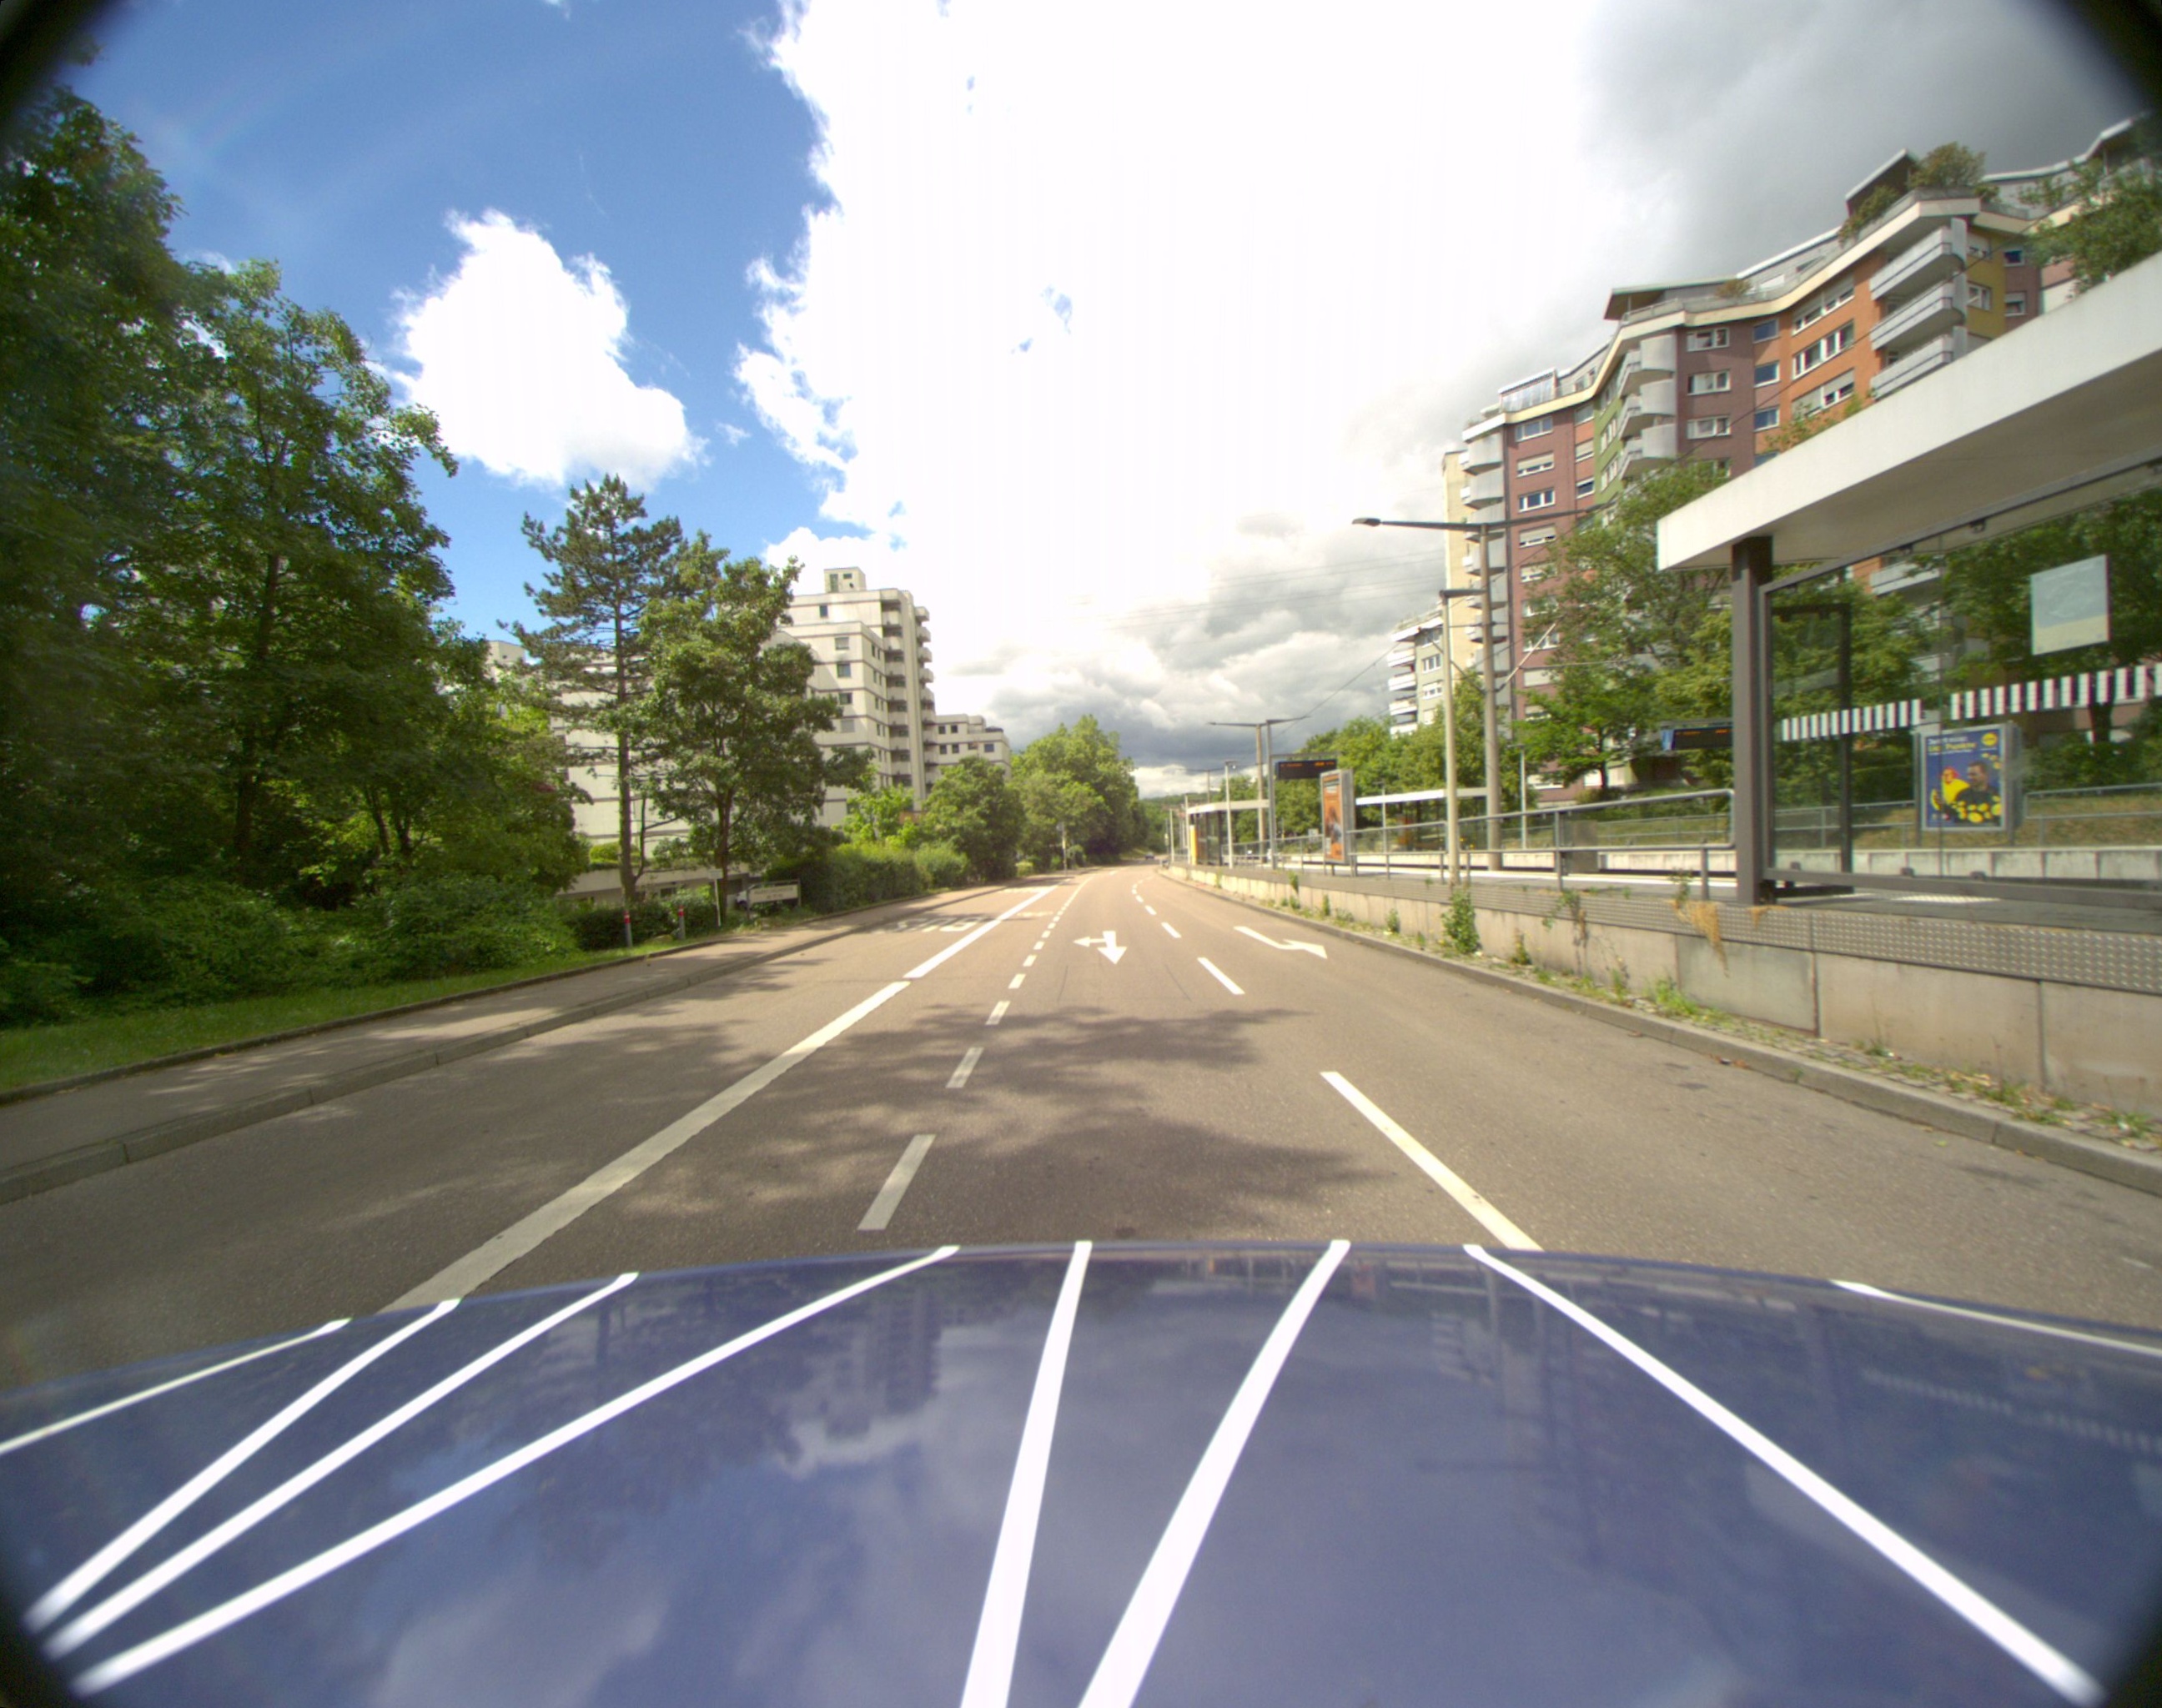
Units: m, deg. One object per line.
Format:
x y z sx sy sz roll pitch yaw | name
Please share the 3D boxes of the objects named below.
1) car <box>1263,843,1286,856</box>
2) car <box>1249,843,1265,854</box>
22.713 -0.530 89.347 1.658 1.410 4.000 -2 0 1 | car
24.521 -0.740 106.049 1.658 1.503 3.738 -2 0 5 | car
